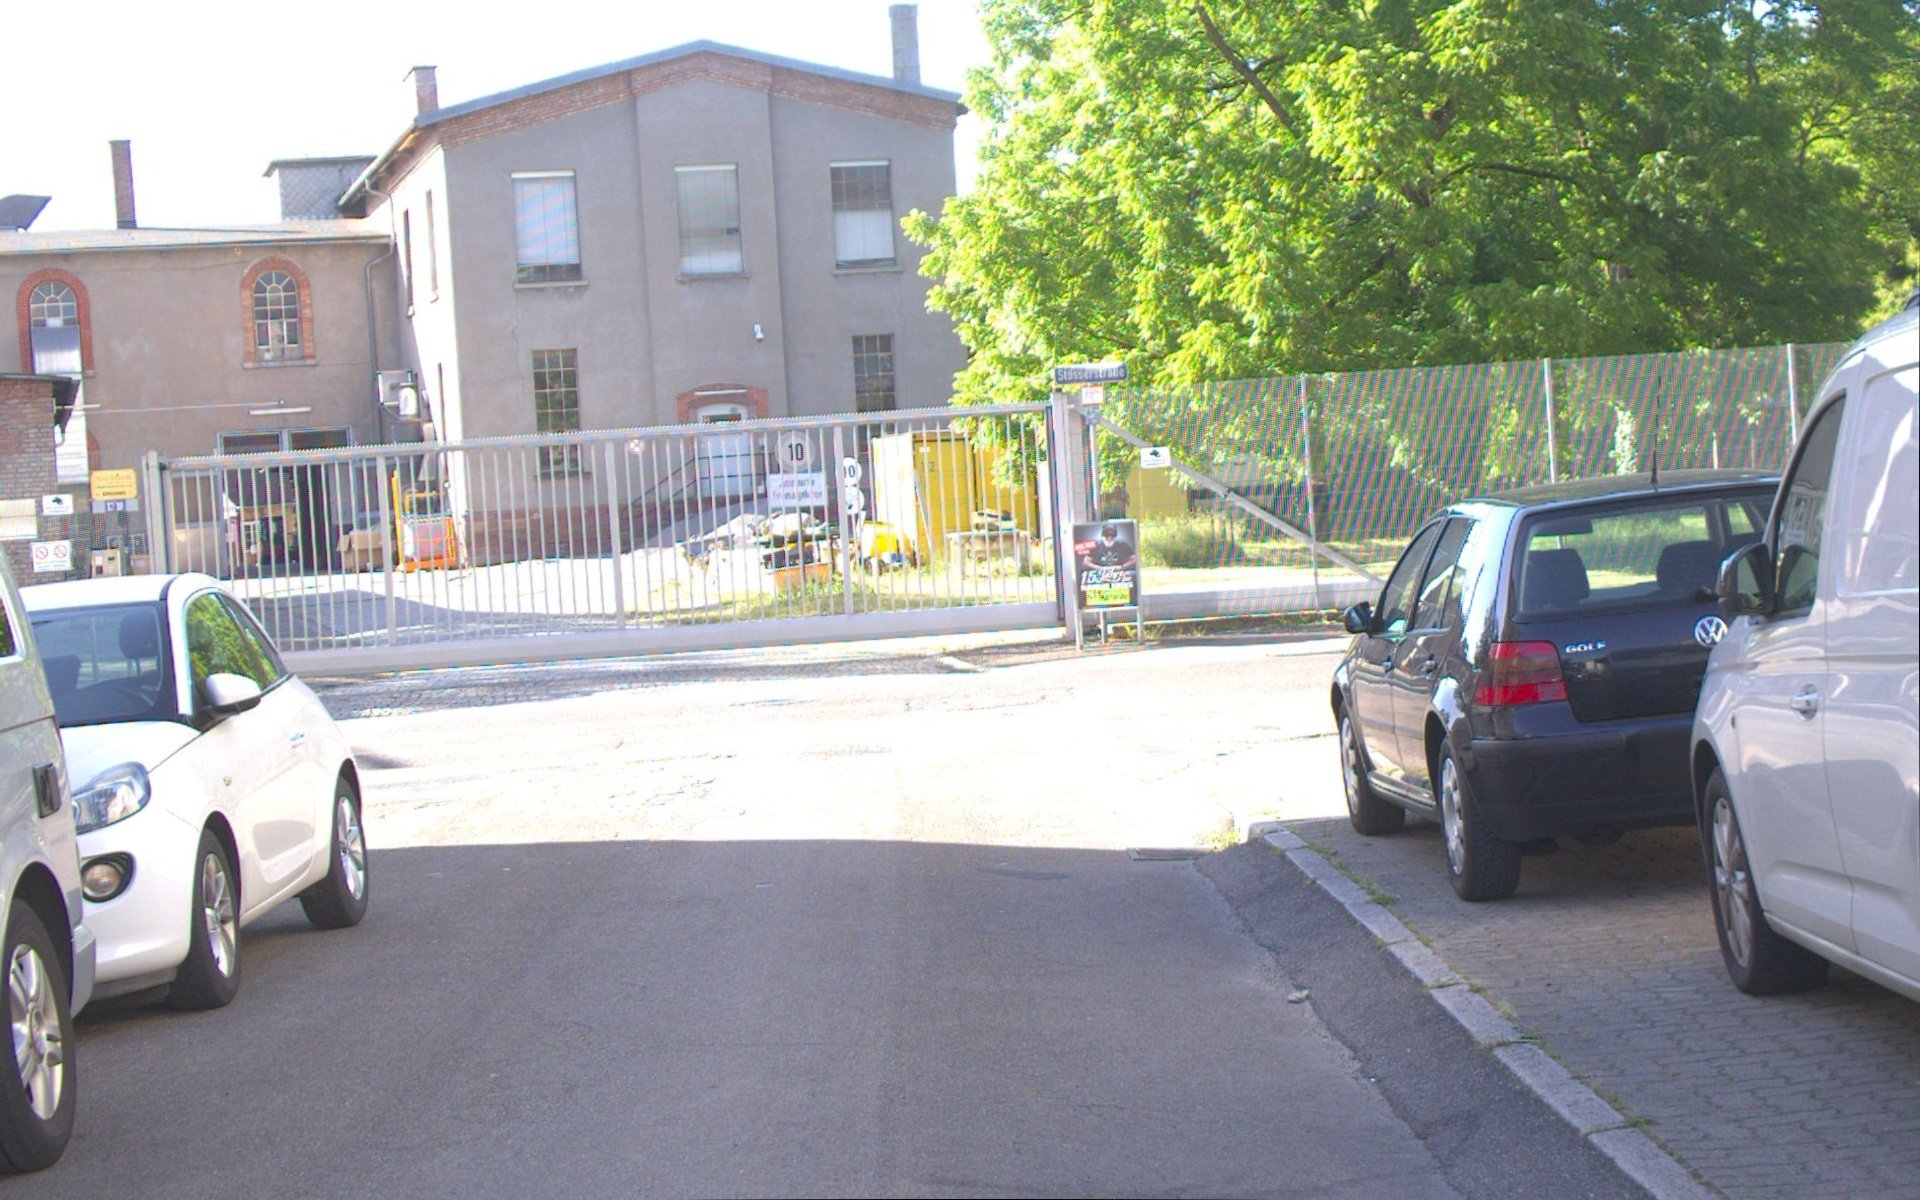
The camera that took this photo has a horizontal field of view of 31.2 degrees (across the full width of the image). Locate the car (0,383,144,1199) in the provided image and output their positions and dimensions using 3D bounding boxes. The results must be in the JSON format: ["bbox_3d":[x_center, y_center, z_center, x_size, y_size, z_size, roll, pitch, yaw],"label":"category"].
[{"bbox_3d":[-3.204,0.562,6.780,1.951,1.926,4.857,-5,2,-1],"label":"car"}]

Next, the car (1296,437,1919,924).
[{"bbox_3d":[2.486,0.199,13.145,1.797,1.410,4.049,-6,2,-1],"label":"car"}]

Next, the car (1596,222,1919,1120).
[{"bbox_3d":[2.827,0.065,7.852,1.798,1.839,4.539,-6,2,1],"label":"car"}]

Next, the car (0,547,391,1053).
[{"bbox_3d":[-3.275,0.635,12.363,1.687,1.454,3.722,-5,2,1],"label":"car"}]
